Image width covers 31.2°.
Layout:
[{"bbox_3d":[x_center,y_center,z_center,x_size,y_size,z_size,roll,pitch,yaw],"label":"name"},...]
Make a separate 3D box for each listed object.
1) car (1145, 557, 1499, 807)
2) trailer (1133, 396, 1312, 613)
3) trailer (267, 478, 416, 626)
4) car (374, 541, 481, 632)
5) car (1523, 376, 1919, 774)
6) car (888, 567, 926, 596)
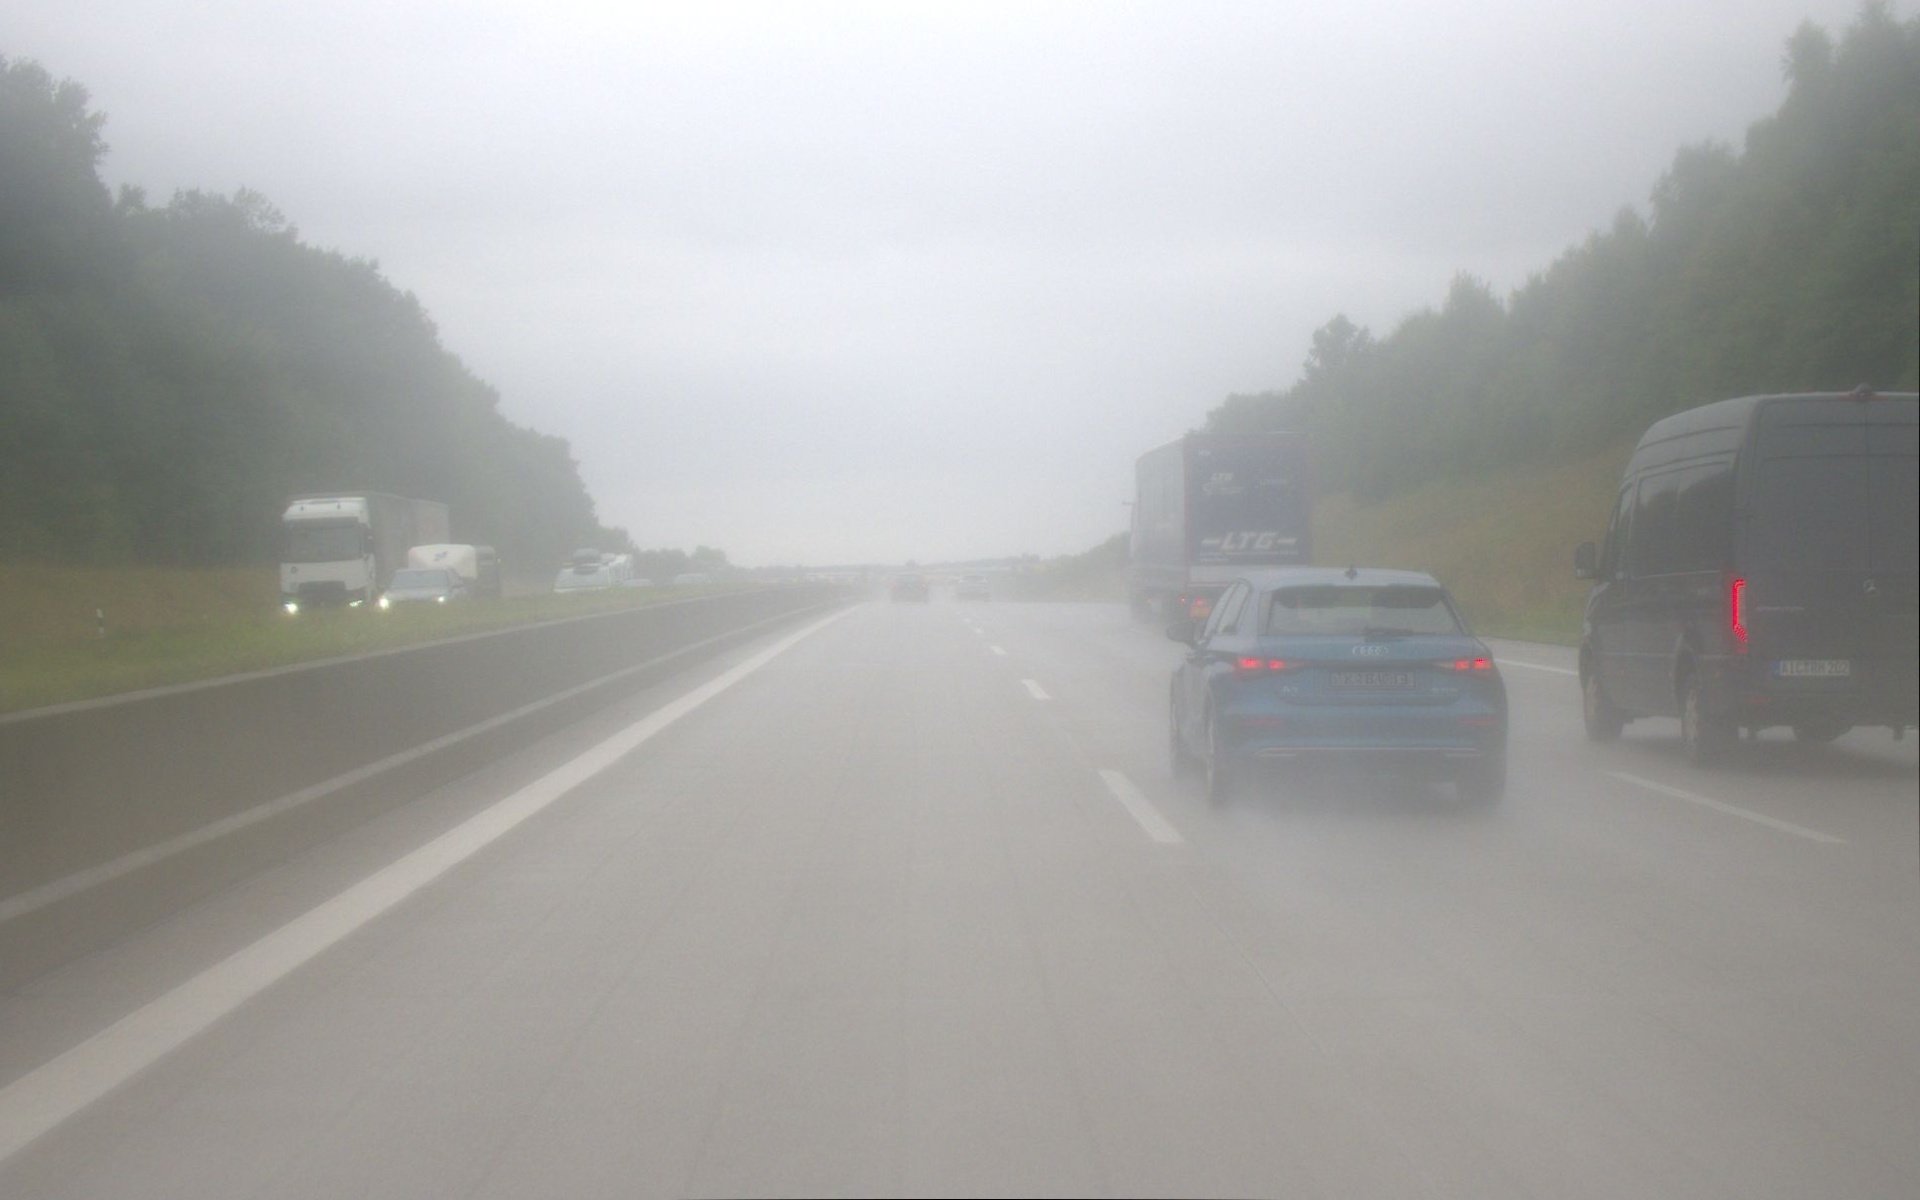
[{"bbox_3d":[2.272,0.510,22.699,1.729,1.454,4.672,-1,-1,-1],"label":"car"},{"bbox_3d":[5.701,-1.942,77.127,2.706,4.365,15.205,1,0,0],"label":"trailer"},{"bbox_3d":[-18.182,-1.445,101.758,2.586,4.033,10.376,-3,1,-1],"label":"trailer"},{"bbox_3d":[-13.698,-0.385,88.751,1.993,2.173,5.208,-2,1,-1],"label":"car"},{"bbox_3d":[5.853,-0.210,26.353,1.941,2.650,6.586,1,1,0],"label":"car"},{"bbox_3d":[-2.514,-0.902,161.731,1.729,1.326,4.430,0,1,-1],"label":"car"}]
